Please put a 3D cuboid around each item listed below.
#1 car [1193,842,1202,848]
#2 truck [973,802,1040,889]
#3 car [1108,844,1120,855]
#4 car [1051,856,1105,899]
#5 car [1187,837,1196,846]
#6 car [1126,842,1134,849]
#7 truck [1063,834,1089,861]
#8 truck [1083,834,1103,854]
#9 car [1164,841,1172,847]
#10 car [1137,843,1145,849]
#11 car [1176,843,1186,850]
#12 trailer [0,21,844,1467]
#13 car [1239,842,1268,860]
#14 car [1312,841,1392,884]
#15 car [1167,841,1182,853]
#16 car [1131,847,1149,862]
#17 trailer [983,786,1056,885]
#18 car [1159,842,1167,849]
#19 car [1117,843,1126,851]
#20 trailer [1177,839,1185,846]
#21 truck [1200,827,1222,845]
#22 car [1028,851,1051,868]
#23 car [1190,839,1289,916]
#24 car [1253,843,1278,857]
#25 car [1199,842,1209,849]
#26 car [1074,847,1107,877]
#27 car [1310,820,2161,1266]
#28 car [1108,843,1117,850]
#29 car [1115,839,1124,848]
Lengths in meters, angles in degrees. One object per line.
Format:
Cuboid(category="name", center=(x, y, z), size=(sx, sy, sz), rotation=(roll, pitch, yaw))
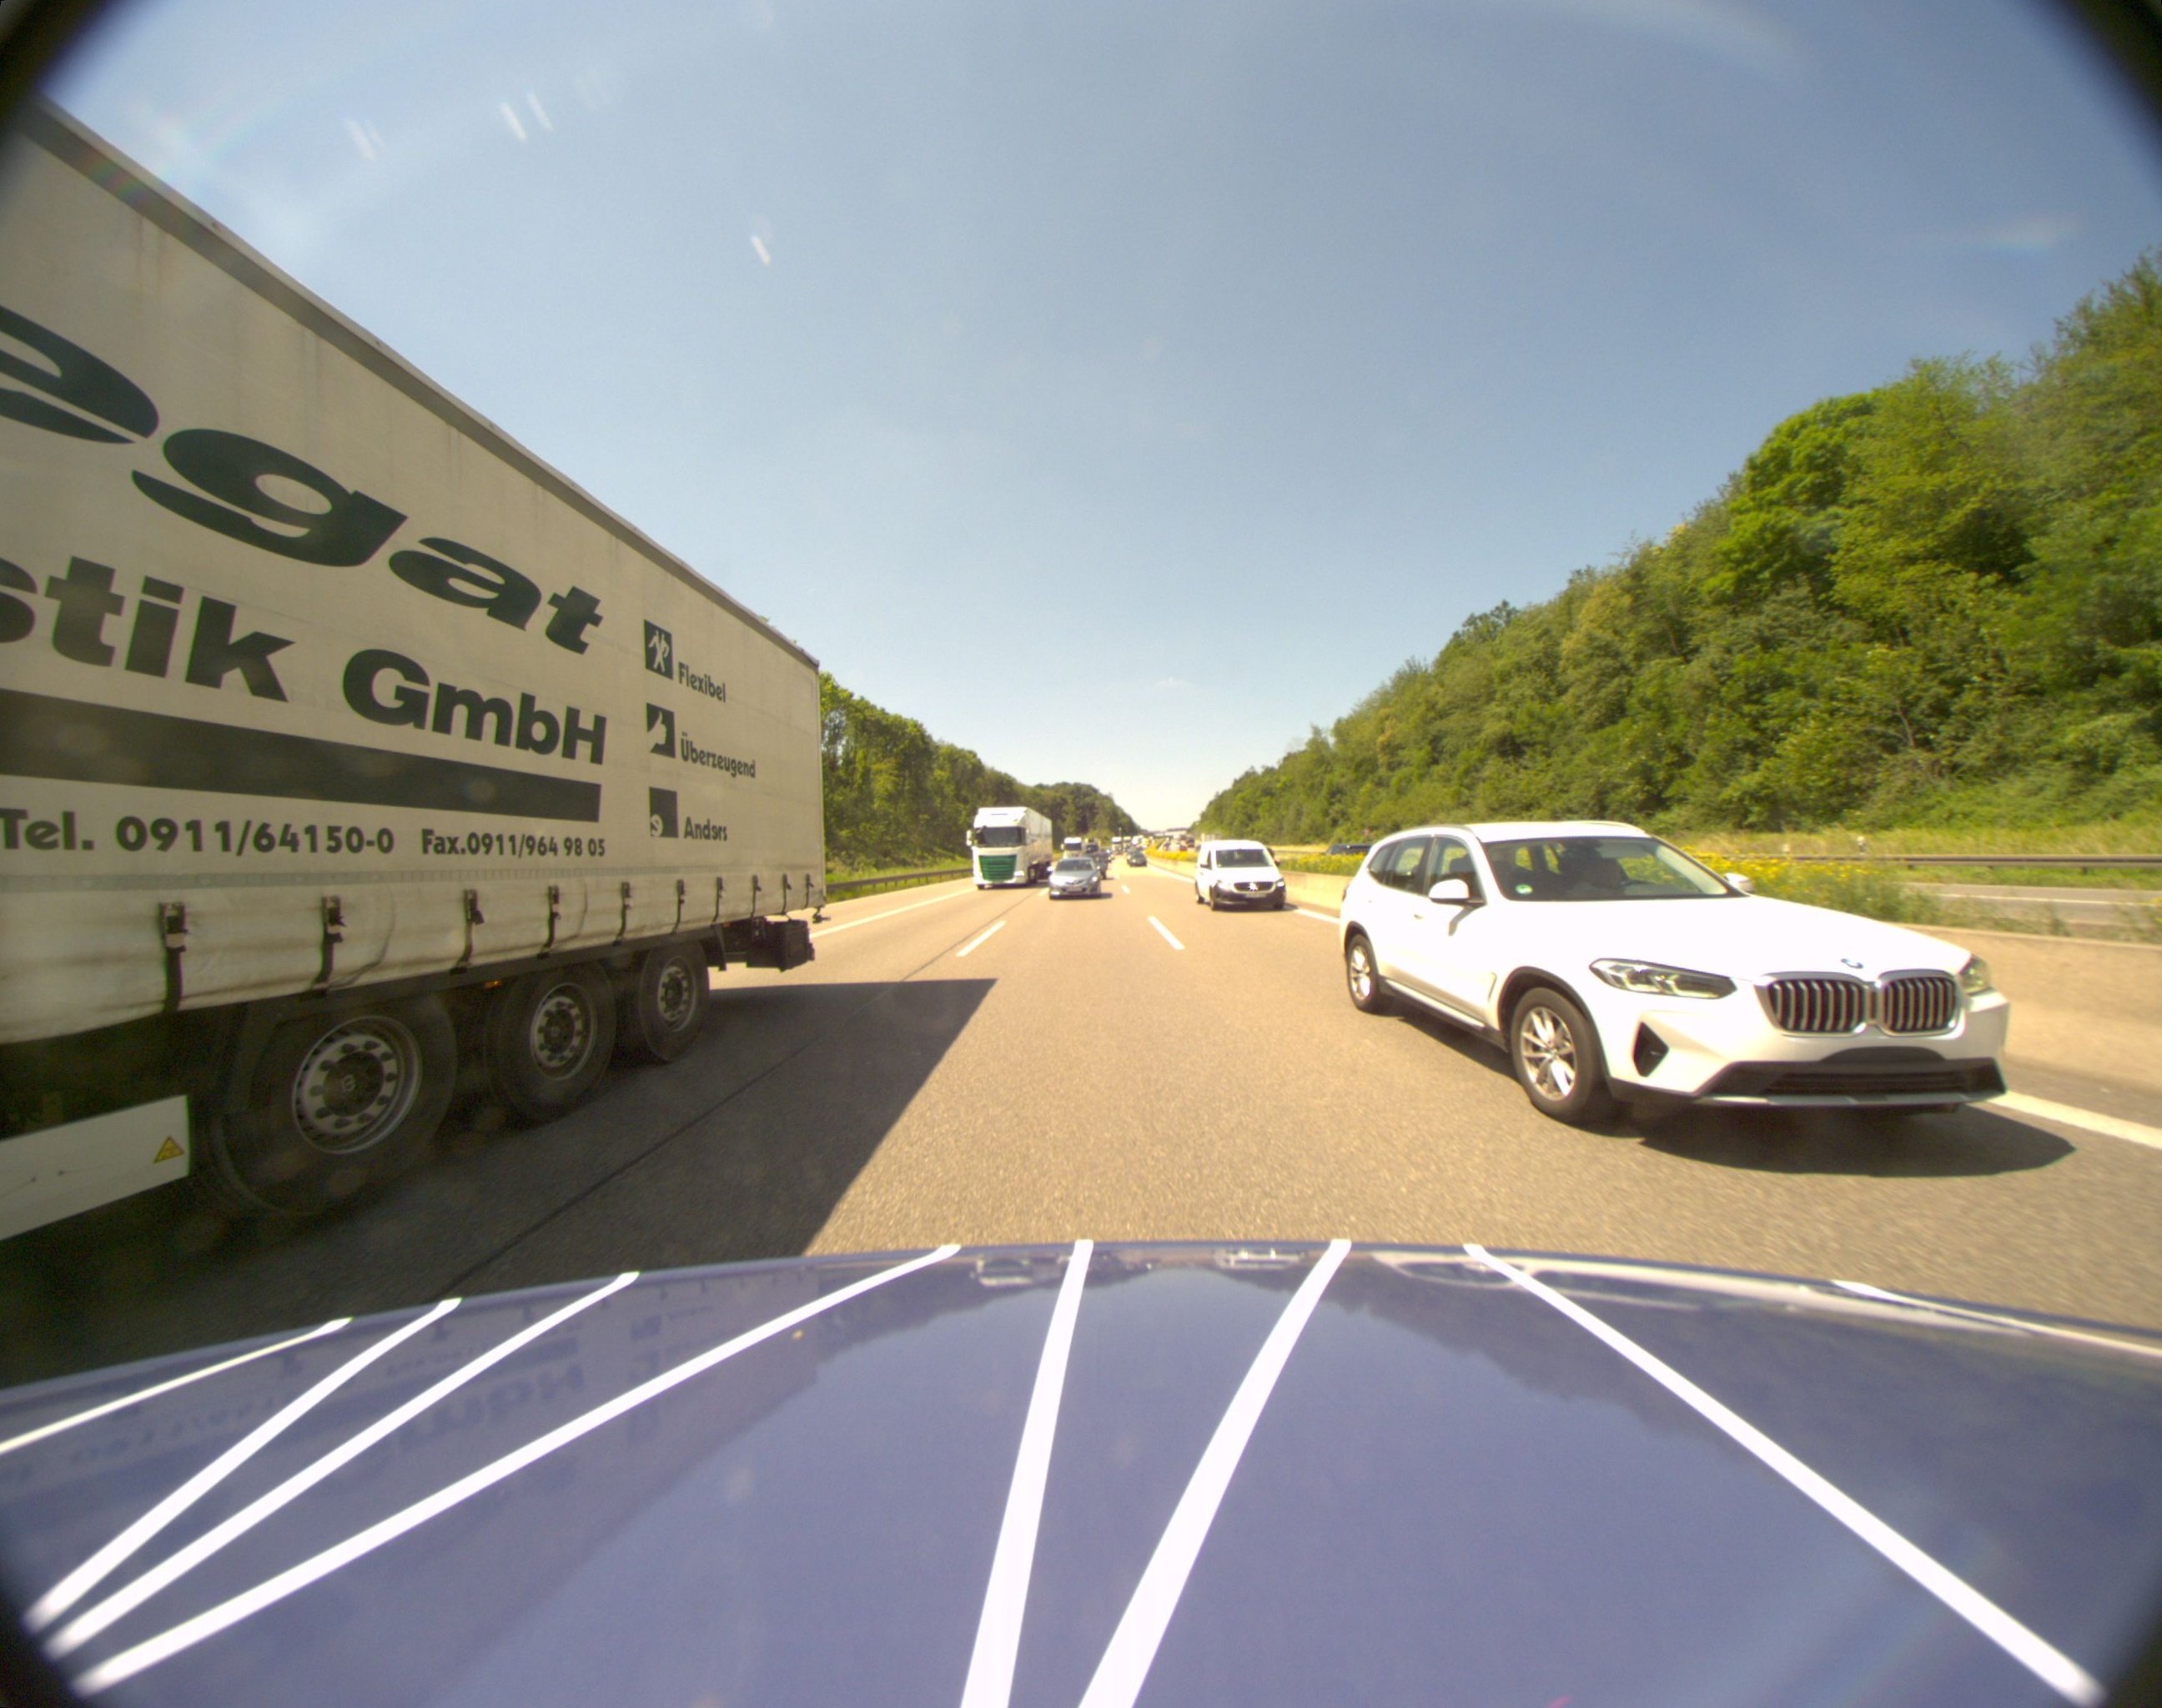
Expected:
Cuboid(category="car", center=(26.931, -2.049, 175.622), size=(1.618, 1.381, 3.509), rotation=(-2, 0, 2))
Cuboid(category="truck", center=(-3.658, -0.426, 38.889), size=(2.542, 4.006, 6.624), rotation=(-2, 1, 1))
Cuboid(category="car", center=(5.681, -0.759, 130.803), size=(1.998, 1.728, 4.000), rotation=(-2, 1, 2))
Cuboid(category="car", center=(-0.086, 0.834, 29.049), size=(1.887, 1.458, 4.248), rotation=(-2, 0, 1))
Cuboid(category="car", center=(31.707, -3.586, 217.315), size=(1.998, 2.416, 4.000), rotation=(-2, 1, 2))
Cuboid(category="car", center=(13.434, -2.376, 206.740), size=(1.998, 1.728, 4.001), rotation=(-2, 1, 4))
Cuboid(category="truck", center=(-0.626, -0.915, 102.679), size=(3.263, 3.337, 6.862), rotation=(-2, 1, 1))
Cuboid(category="truck", center=(2.316, -1.876, 144.833), size=(3.558, 3.694, 7.551), rotation=(-2, 1, 2))
Cuboid(category="car", center=(24.686, -2.857, 215.639), size=(1.922, 1.658, 4.000), rotation=(-2, 1, 2))
Cuboid(category="car", center=(15.228, -2.118, 192.042), size=(1.998, 1.426, 4.001), rotation=(-2, 0, 3))
Cuboid(category="car", center=(21.503, -1.632, 163.315), size=(1.673, 1.381, 3.508), rotation=(-2, 0, 1))
Cuboid(category="trailer", center=(-4.501, -0.307, 2.967), size=(2.793, 4.180, 13.244), rotation=(-2, -1, 0))
Cuboid(category="car", center=(16.959, -0.283, 75.006), size=(1.998, 1.718, 4.000), rotation=(-2, 0, 2))
Cuboid(category="car", center=(11.545, 0.341, 32.672), size=(1.998, 1.668, 4.080), rotation=(-2, 0, 1))
Cuboid(category="car", center=(16.257, -1.262, 132.266), size=(1.998, 2.002, 4.900), rotation=(-2, 1, 2))
Cuboid(category="car", center=(6.167, 0.083, 79.566), size=(1.720, 1.470, 4.000), rotation=(-2, 0, 2))
Cuboid(category="trailer", center=(-3.433, -1.071, 46.845), size=(2.574, 5.011, 15.271), rotation=(-2, 1, 2))
Cuboid(category="car", center=(18.339, -1.808, 170.528), size=(1.602, 1.500, 3.360), rotation=(-2, 1, 2))
Cuboid(category="car", center=(9.481, -1.591, 180.005), size=(1.998, 1.728, 4.000), rotation=(-2, 1, 2))
Cuboid(category="trailer", center=(30.032, -3.550, 227.505), size=(1.998, 2.002, 4.000), rotation=(-2, 1, 2))
Cuboid(category="truck", center=(32.445, -4.360, 189.609), size=(3.718, 4.171, 13.793), rotation=(-2, 1, 3))
Cuboid(category="car", center=(-3.936, 0.491, 72.553), size=(1.934, 1.534, 3.756), rotation=(-2, 0, 1))
Cuboid(category="car", center=(4.141, 0.563, 20.561), size=(1.769, 1.802, 4.674), rotation=(-2, 0, 1))
Cuboid(category="car", center=(21.212, -0.447, 87.426), size=(1.998, 1.499, 4.000), rotation=(-1, 0, 2))
Cuboid(category="car", center=(26.414, -1.767, 163.190), size=(1.618, 1.381, 3.508), rotation=(-2, 0, 1))
Cuboid(category="car", center=(0.582, 0.492, 47.524), size=(1.887, 1.695, 4.084), rotation=(-2, 0, 1))
Cuboid(category="car", center=(3.349, 0.739, 5.438), size=(1.869, 1.684, 4.956), rotation=(-2, 0, 0))
Cuboid(category="car", center=(8.428, -2.094, 202.938), size=(1.998, 1.728, 4.001), rotation=(-2, 1, 4))
Cuboid(category="car", center=(11.954, -3.281, 237.376), size=(2.697, 2.467, 6.585), rotation=(-2, 1, 4))
